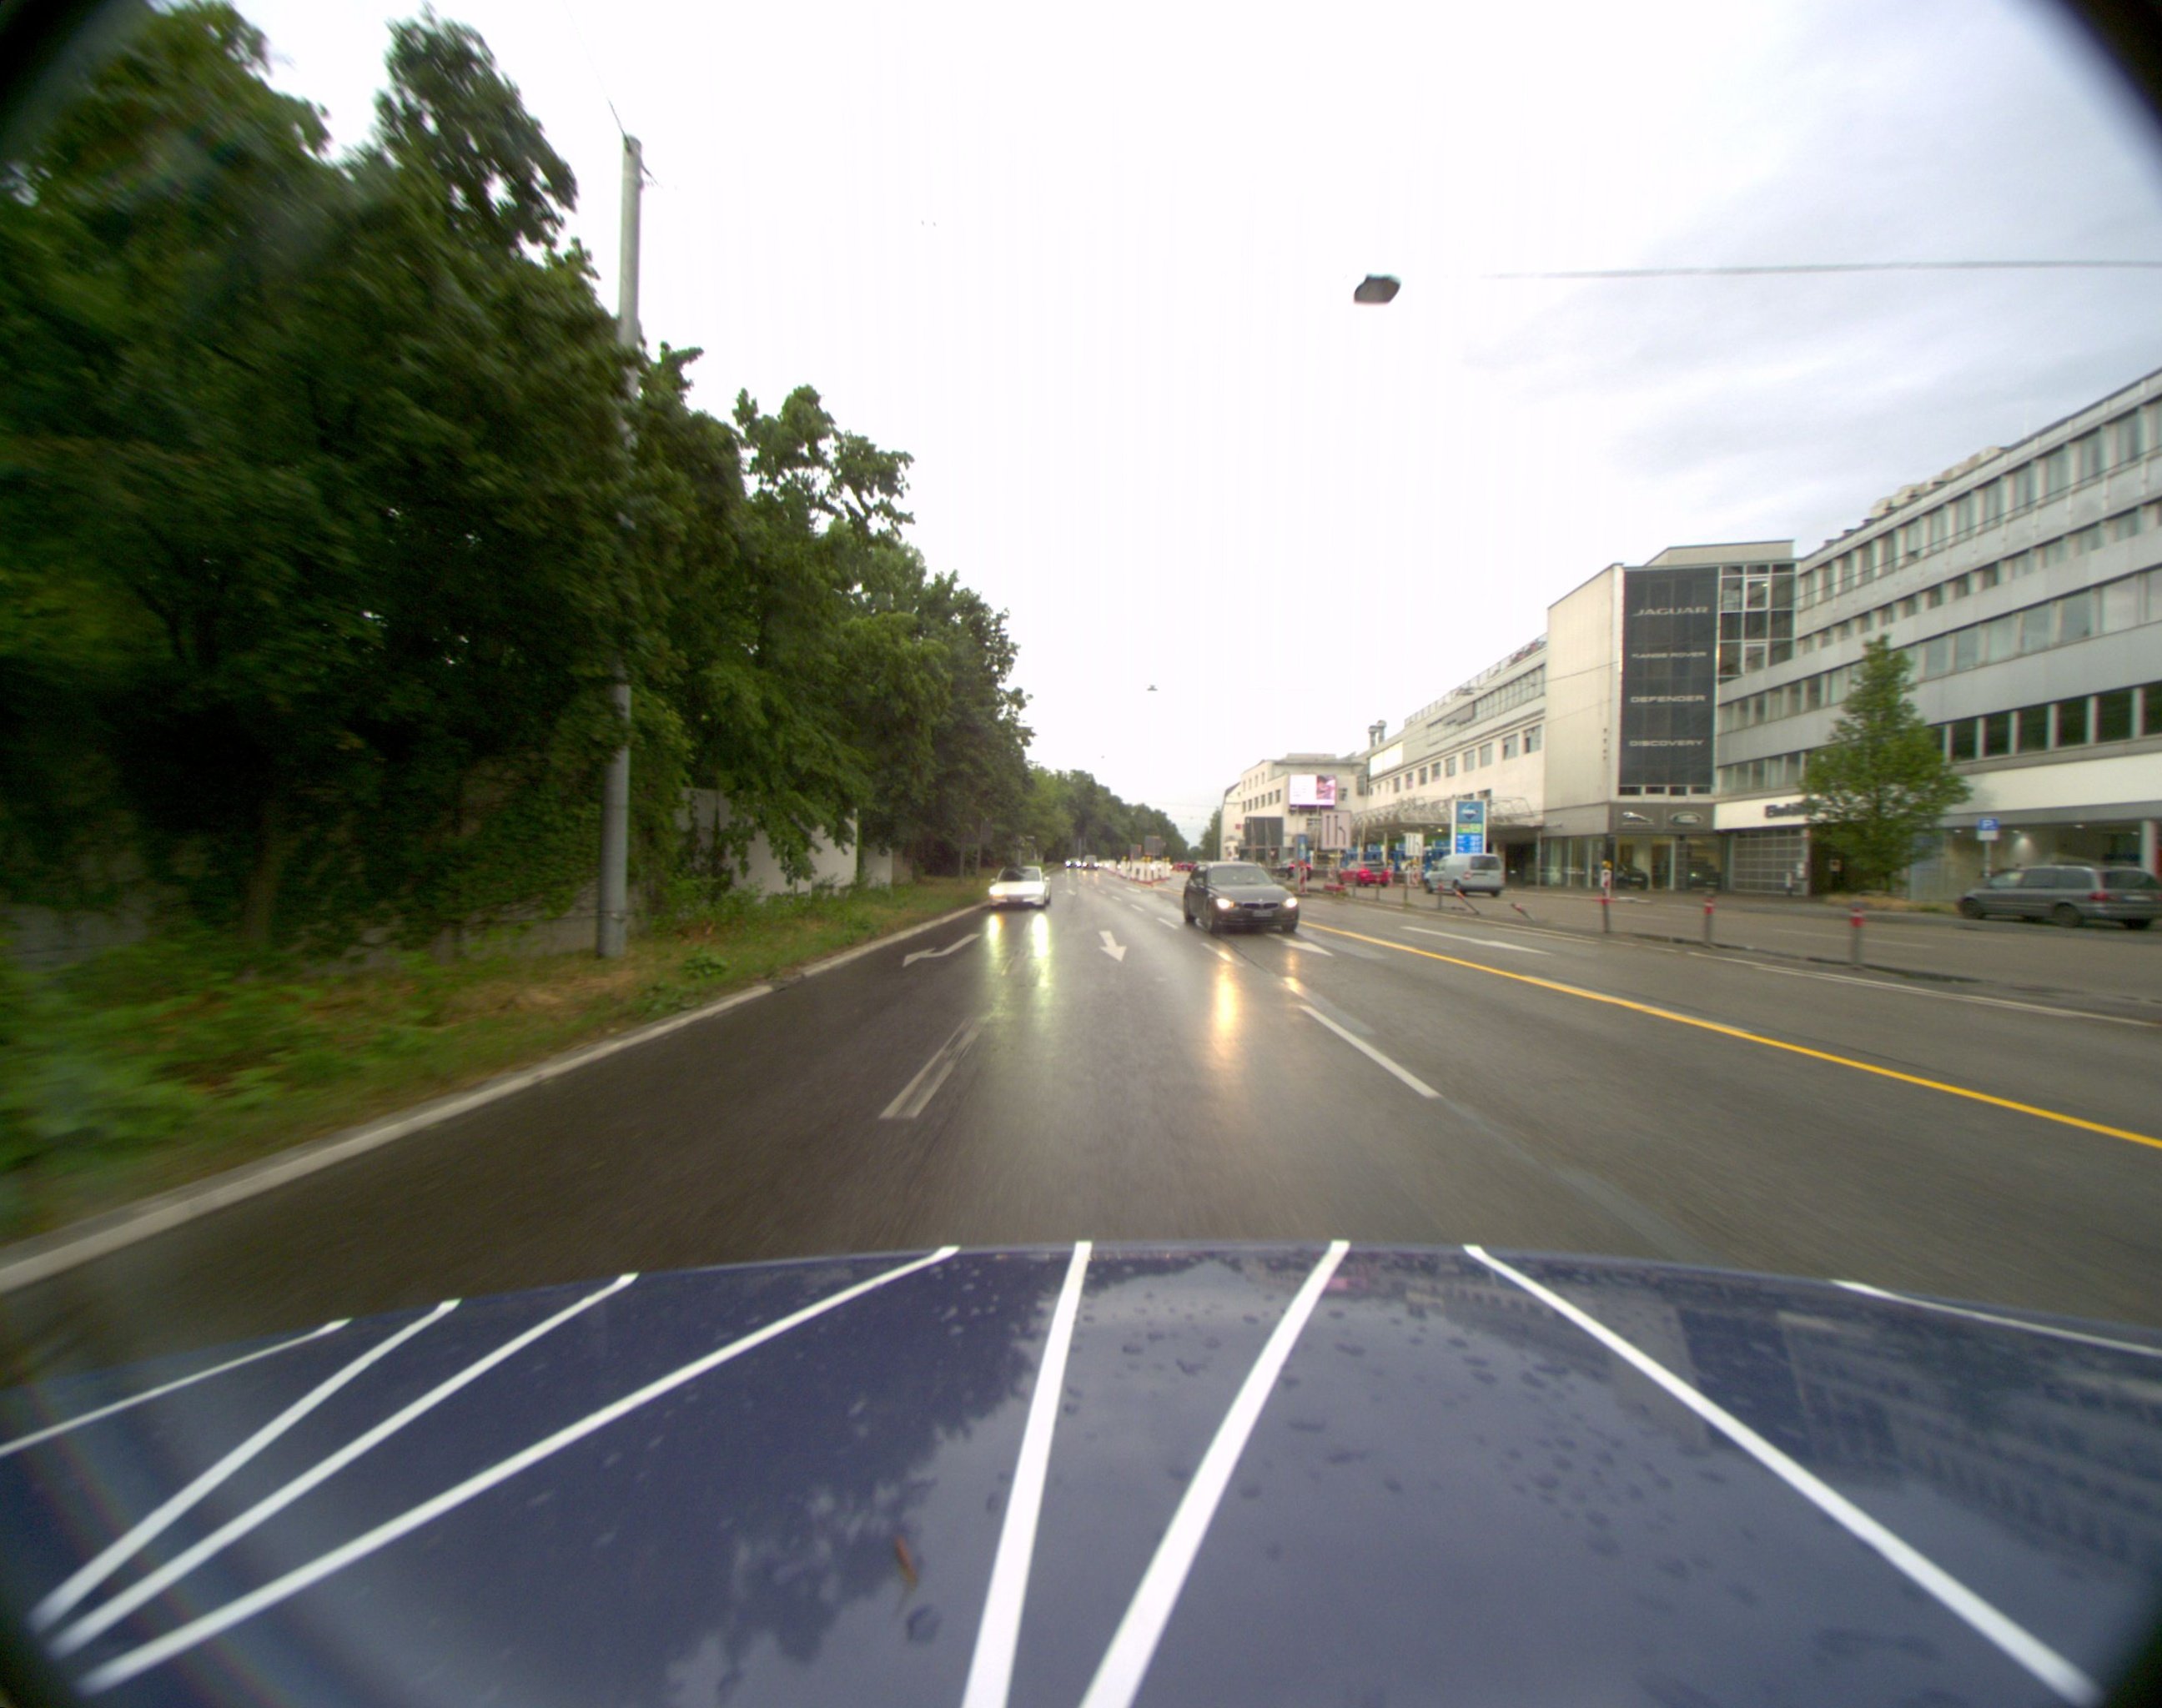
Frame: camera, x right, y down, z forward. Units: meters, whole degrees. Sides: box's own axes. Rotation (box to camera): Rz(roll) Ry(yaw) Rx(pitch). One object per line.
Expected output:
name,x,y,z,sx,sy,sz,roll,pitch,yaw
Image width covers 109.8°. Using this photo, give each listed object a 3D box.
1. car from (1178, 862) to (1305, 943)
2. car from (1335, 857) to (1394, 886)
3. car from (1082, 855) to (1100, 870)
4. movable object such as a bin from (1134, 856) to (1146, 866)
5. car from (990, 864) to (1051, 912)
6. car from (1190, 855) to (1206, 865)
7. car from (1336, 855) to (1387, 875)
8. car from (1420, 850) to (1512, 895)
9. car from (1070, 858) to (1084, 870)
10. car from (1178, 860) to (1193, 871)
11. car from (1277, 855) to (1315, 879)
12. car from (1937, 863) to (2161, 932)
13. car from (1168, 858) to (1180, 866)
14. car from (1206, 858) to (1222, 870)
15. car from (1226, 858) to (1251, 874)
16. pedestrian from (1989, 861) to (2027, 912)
car,3.369,0.961,16.785,1.764,1.441,4.176,-1,1,-2
car,16.504,0.991,44.444,1.834,1.493,4.373,2,0,1
car,1.242,0.978,92.471,1.998,1.739,4.001,2,0,2
movable object such as a bin,12.216,1.446,156.884,1.997,2.099,3.853,2,-1,8
car,-2.041,1.136,26.870,1.840,1.424,4.272,-2,0,-1
car,20.191,0.991,131.396,1.984,1.697,4.831,1,0,0
car,28.682,1.136,77.694,4.432,1.760,1.972,3,0,41
car,16.503,0.732,32.829,1.738,1.775,4.301,2,0,0
car,-0.564,1.412,107.851,1.741,1.477,3.918,-2,0,2
car,14.486,1.582,105.447,1.692,1.346,4.116,2,0,4
car,16.789,0.973,59.561,1.850,1.727,4.605,1,0,2
car,29.069,1.217,22.876,1.851,1.768,4.734,2,0,11
car,16.612,1.455,135.976,1.740,1.396,4.289,0,0,0
car,18.353,1.400,104.817,1.755,1.505,4.001,2,1,4
car,16.681,1.280,80.554,1.812,1.549,4.301,1,0,1
pedestrian,31.953,1.122,26.180,0.670,1.710,0.705,2,1,-33
